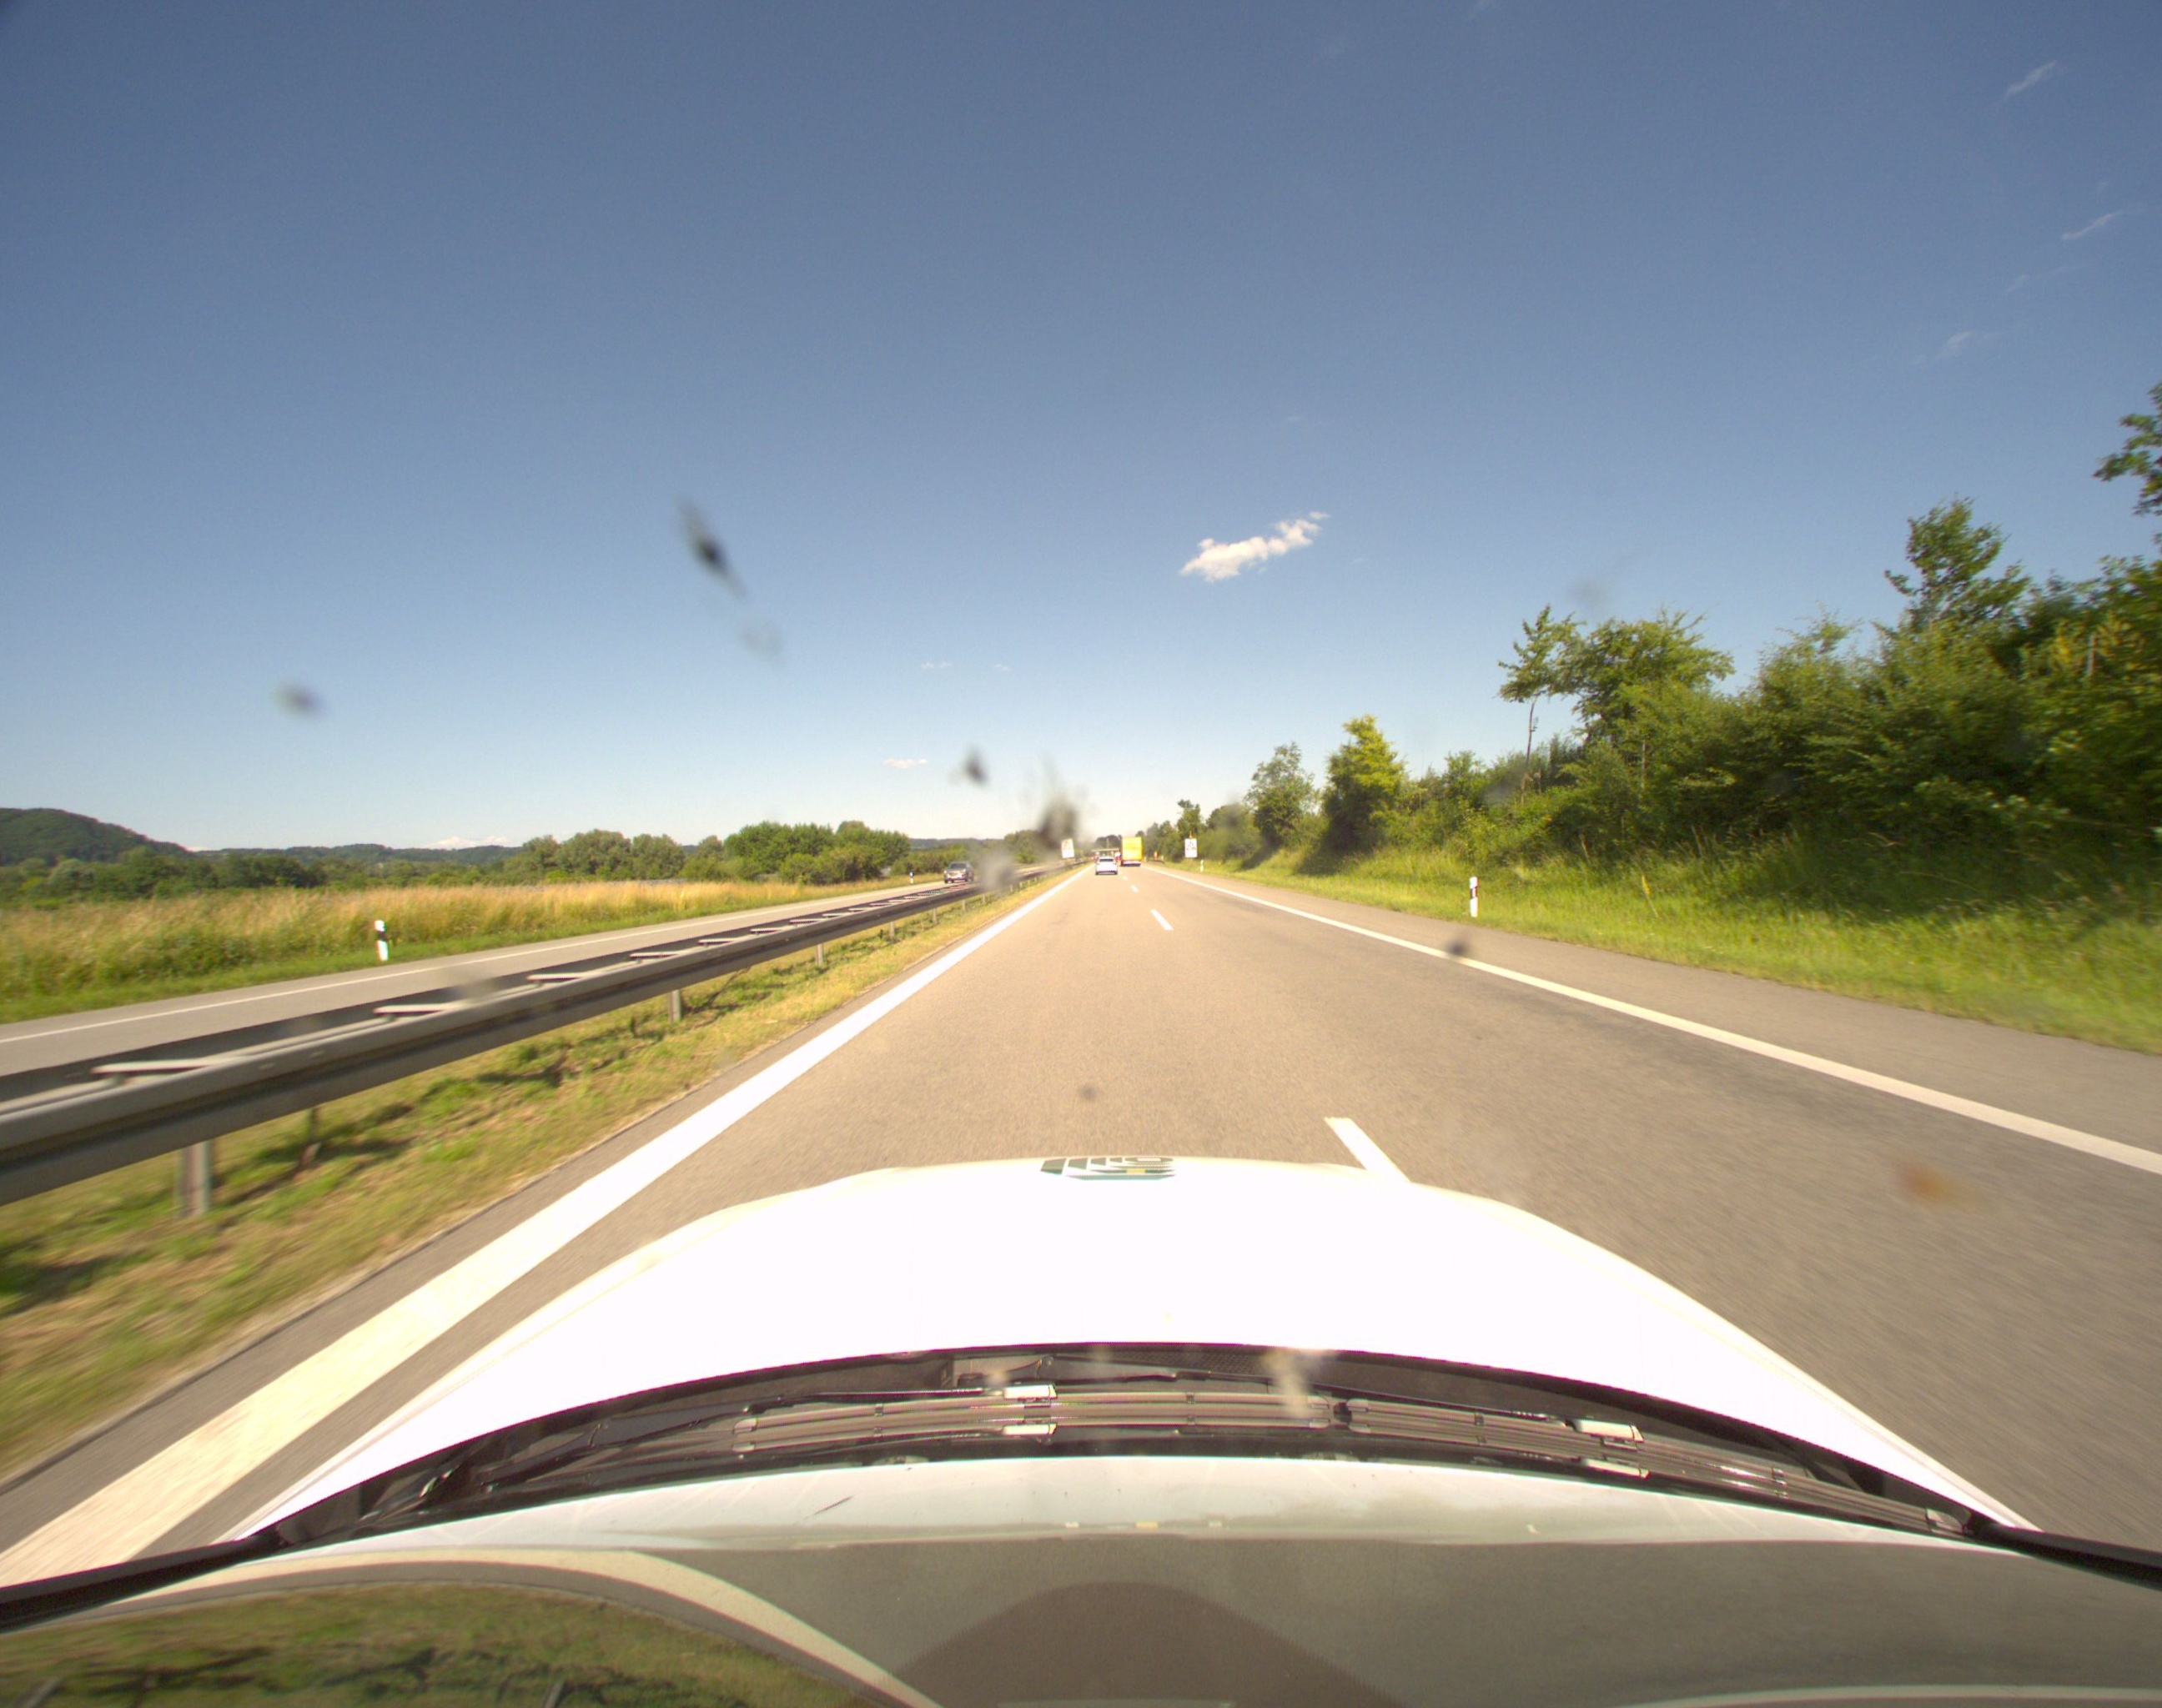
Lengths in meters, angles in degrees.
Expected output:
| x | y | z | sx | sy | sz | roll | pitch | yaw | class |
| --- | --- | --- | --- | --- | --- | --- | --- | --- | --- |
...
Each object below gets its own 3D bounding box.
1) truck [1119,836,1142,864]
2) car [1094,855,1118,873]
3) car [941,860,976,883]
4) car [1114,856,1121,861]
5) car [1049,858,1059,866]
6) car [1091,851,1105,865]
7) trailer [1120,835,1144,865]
| x | y | z | sx | sy | sz | roll | pitch | yaw | class |
| --- | --- | --- | --- | --- | --- | --- | --- | --- | --- |
| 7.450 | -0.507 | 123.391 | 3.157 | 4.114 | 6.390 | 0 | 0 | 1 | truck |
| 2.029 | 0.788 | 66.231 | 1.835 | 1.415 | 4.003 | 0 | 0 | 3 | car |
| -9.726 | 1.387 | 65.126 | 1.895 | 1.683 | 4.733 | -3 | 0 | 2 | car |
| 11.437 | 1.403 | 255.758 | 1.895 | 1.683 | 4.733 | 1 | 0 | 2 | car |
| -5.810 | 1.734 | 175.623 | 1.826 | 1.398 | 4.923 | -5 | 0 | 1 | car |
| 2.434 | 0.590 | 118.530 | 1.986 | 2.014 | 4.001 | 0 | 0 | 1 | car |
| 7.197 | -0.542 | 117.409 | 3.172 | 4.059 | 13.193 | 0 | 0 | 2 | trailer |
